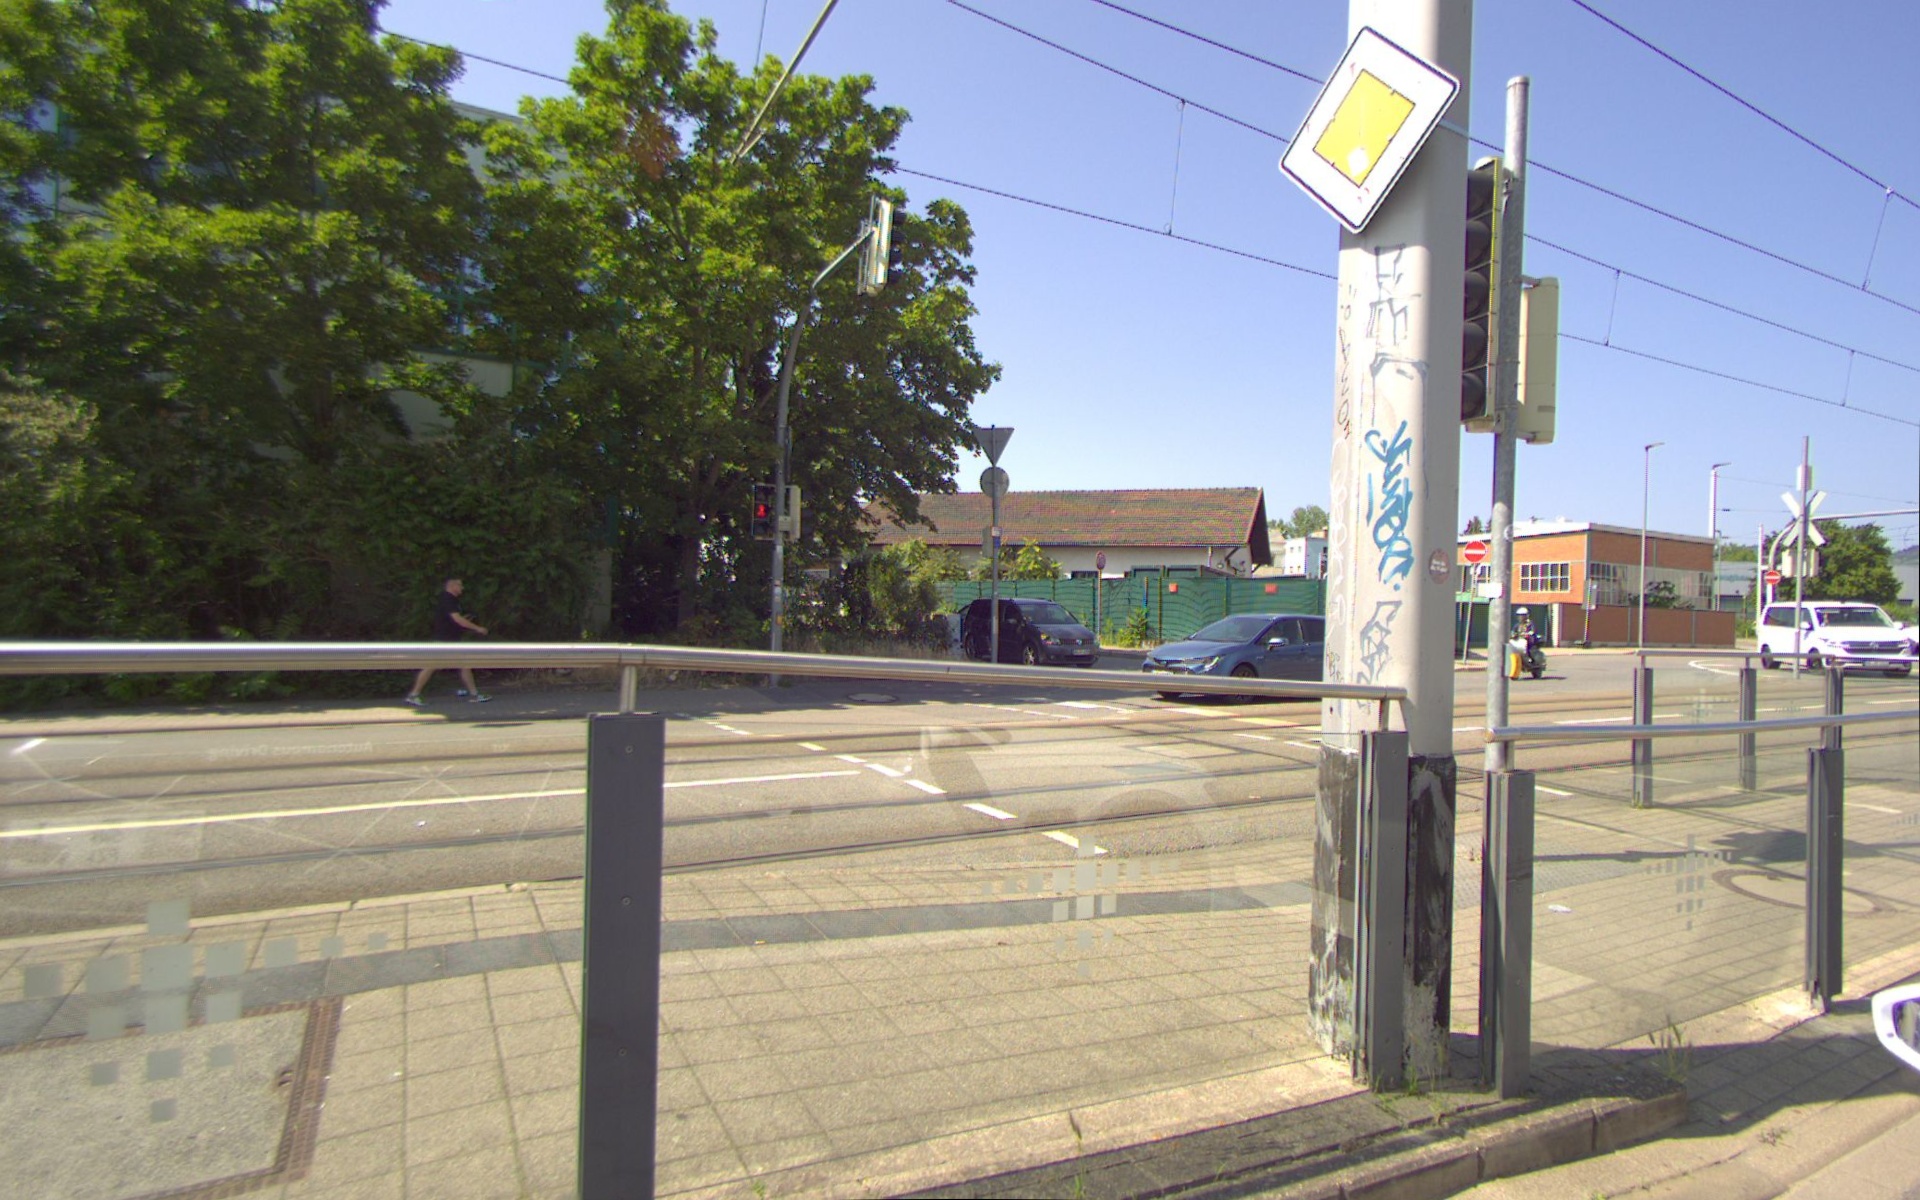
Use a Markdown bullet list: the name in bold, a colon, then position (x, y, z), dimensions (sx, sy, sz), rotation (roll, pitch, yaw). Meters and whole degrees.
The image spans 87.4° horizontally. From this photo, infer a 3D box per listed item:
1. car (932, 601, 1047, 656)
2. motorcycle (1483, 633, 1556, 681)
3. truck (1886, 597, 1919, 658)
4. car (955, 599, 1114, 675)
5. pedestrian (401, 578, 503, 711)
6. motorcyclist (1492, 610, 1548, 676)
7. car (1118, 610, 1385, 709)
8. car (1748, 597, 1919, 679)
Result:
- **car**: position (0.821, 0.835, 30.671), dimensions (1.783, 1.557, 4.134), rotation (1, -1, -27)
- **motorcycle**: position (12.978, 1.297, 23.289), dimensions (1.947, 1.025, 0.816), rotation (1, 0, -39)
- **truck**: position (40.068, 1.101, 38.666), dimensions (6.290, 2.368, 2.200), rotation (0, 0, 39)
- **car**: position (1.715, 0.835, 24.598), dimensions (1.909, 1.604, 4.159), rotation (1, 1, -29)
- **pedestrian**: position (-6.811, 0.585, 13.467), dimensions (1.146, 1.692, 0.882), rotation (2, 0, -30)
- **motorcyclist**: position (12.985, 0.978, 23.301), dimensions (0.954, 1.495, 0.829), rotation (1, 0, -39)
- **car**: position (5.013, 0.942, 17.055), dimensions (4.547, 1.461, 1.895), rotation (1, 0, -34)
- **car**: position (23.999, 0.979, 27.773), dimensions (2.127, 2.040, 5.016), rotation (1, 0, 22)
